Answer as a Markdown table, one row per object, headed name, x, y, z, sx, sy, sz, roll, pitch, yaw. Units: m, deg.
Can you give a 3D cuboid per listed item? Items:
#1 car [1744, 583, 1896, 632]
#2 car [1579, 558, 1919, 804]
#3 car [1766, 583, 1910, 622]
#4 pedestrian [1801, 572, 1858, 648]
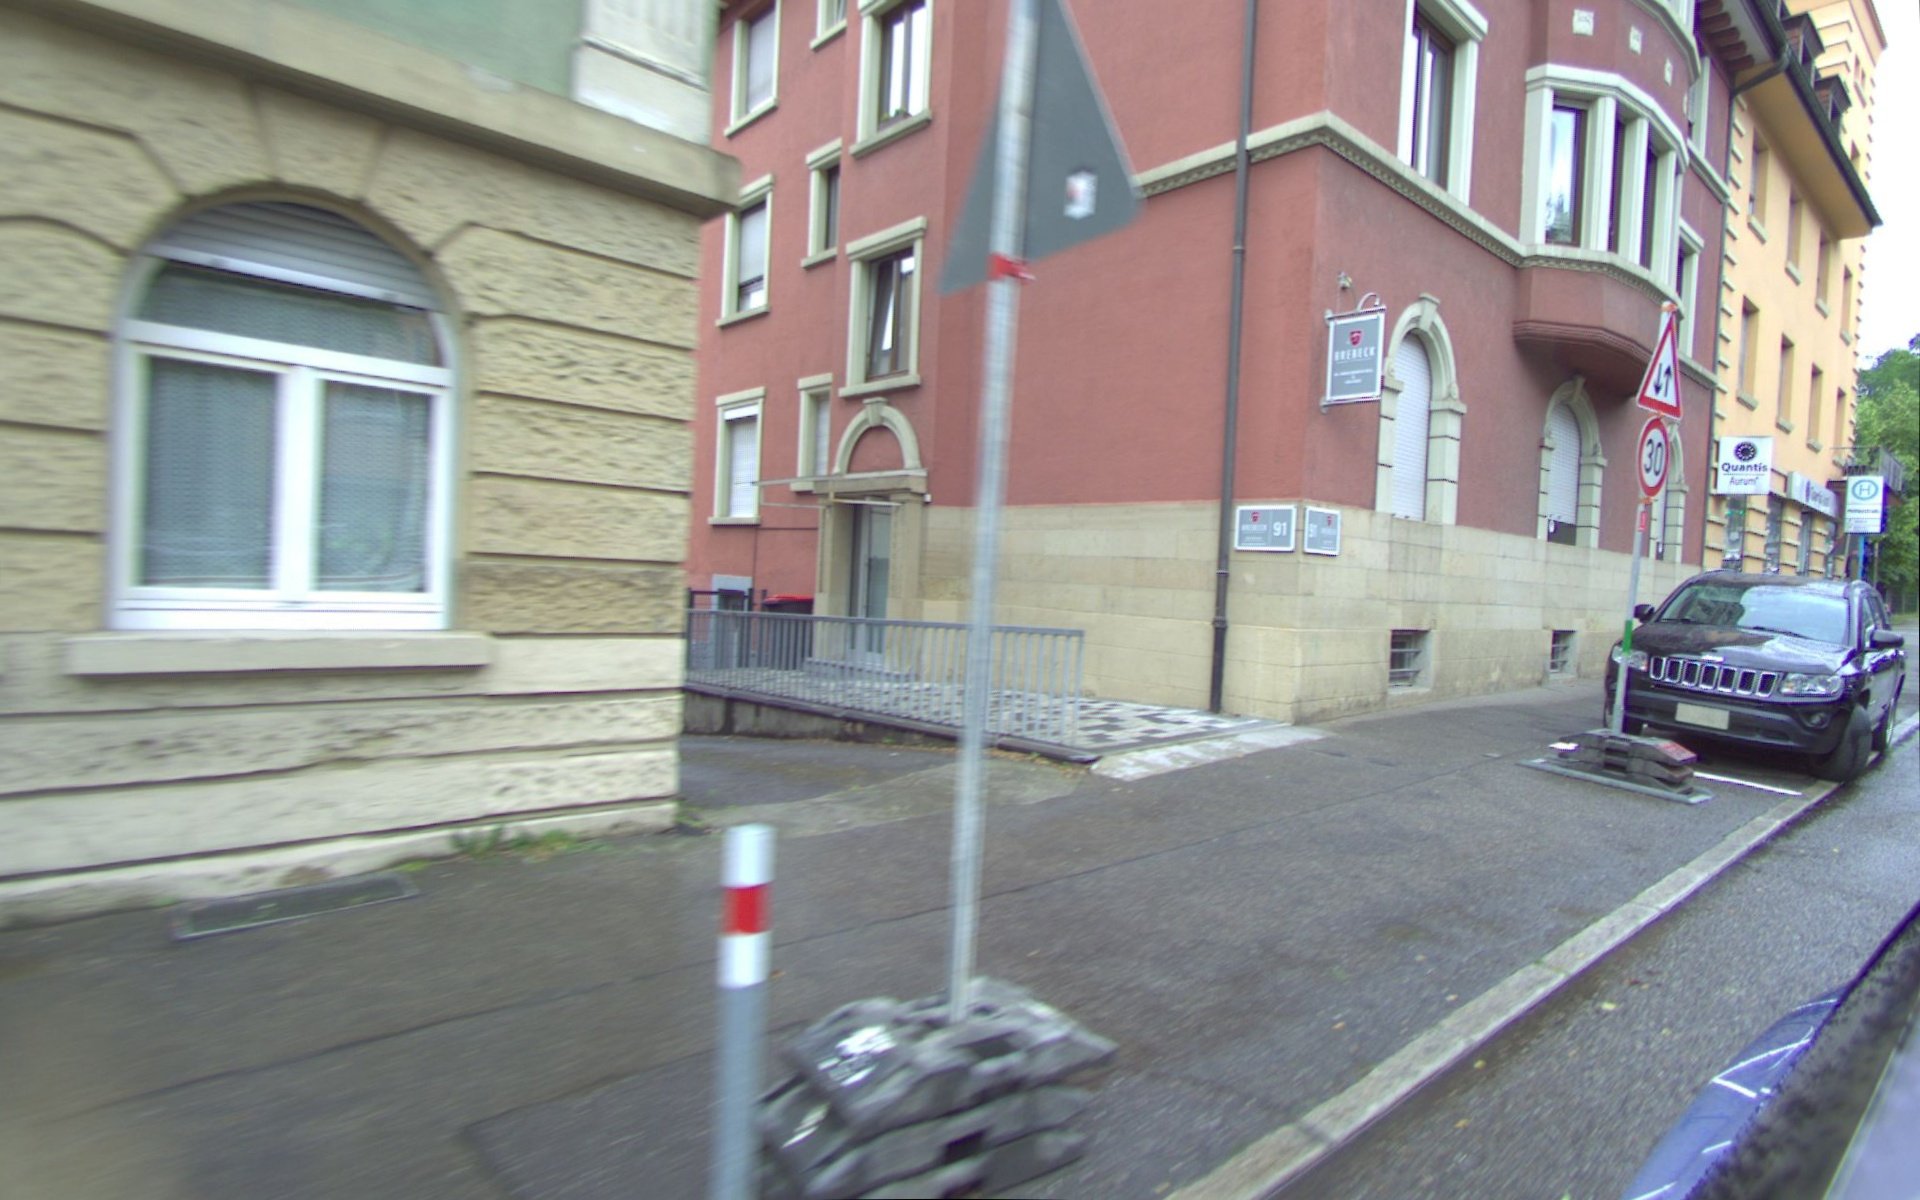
| name | x | y | z | sx | sy | sz | roll | pitch | yaw |
| --- | --- | --- | --- | --- | --- | --- | --- | --- | --- |
| car | 30.532 | 0.249 | 35.981 | 4.027 | 1.487 | 1.858 | -3 | 1 | -8 |
| car | 7.738 | 0.496 | 9.495 | 4.616 | 1.648 | 1.882 | -2 | 7 | -41 |
| car | 35.458 | 0.123 | 40.942 | 4.268 | 1.517 | 1.970 | -1 | -1 | 45 |
| pedestrian | 19.321 | 0.210 | 22.502 | 0.762 | 1.609 | 0.705 | 2 | 3 | 30 |
